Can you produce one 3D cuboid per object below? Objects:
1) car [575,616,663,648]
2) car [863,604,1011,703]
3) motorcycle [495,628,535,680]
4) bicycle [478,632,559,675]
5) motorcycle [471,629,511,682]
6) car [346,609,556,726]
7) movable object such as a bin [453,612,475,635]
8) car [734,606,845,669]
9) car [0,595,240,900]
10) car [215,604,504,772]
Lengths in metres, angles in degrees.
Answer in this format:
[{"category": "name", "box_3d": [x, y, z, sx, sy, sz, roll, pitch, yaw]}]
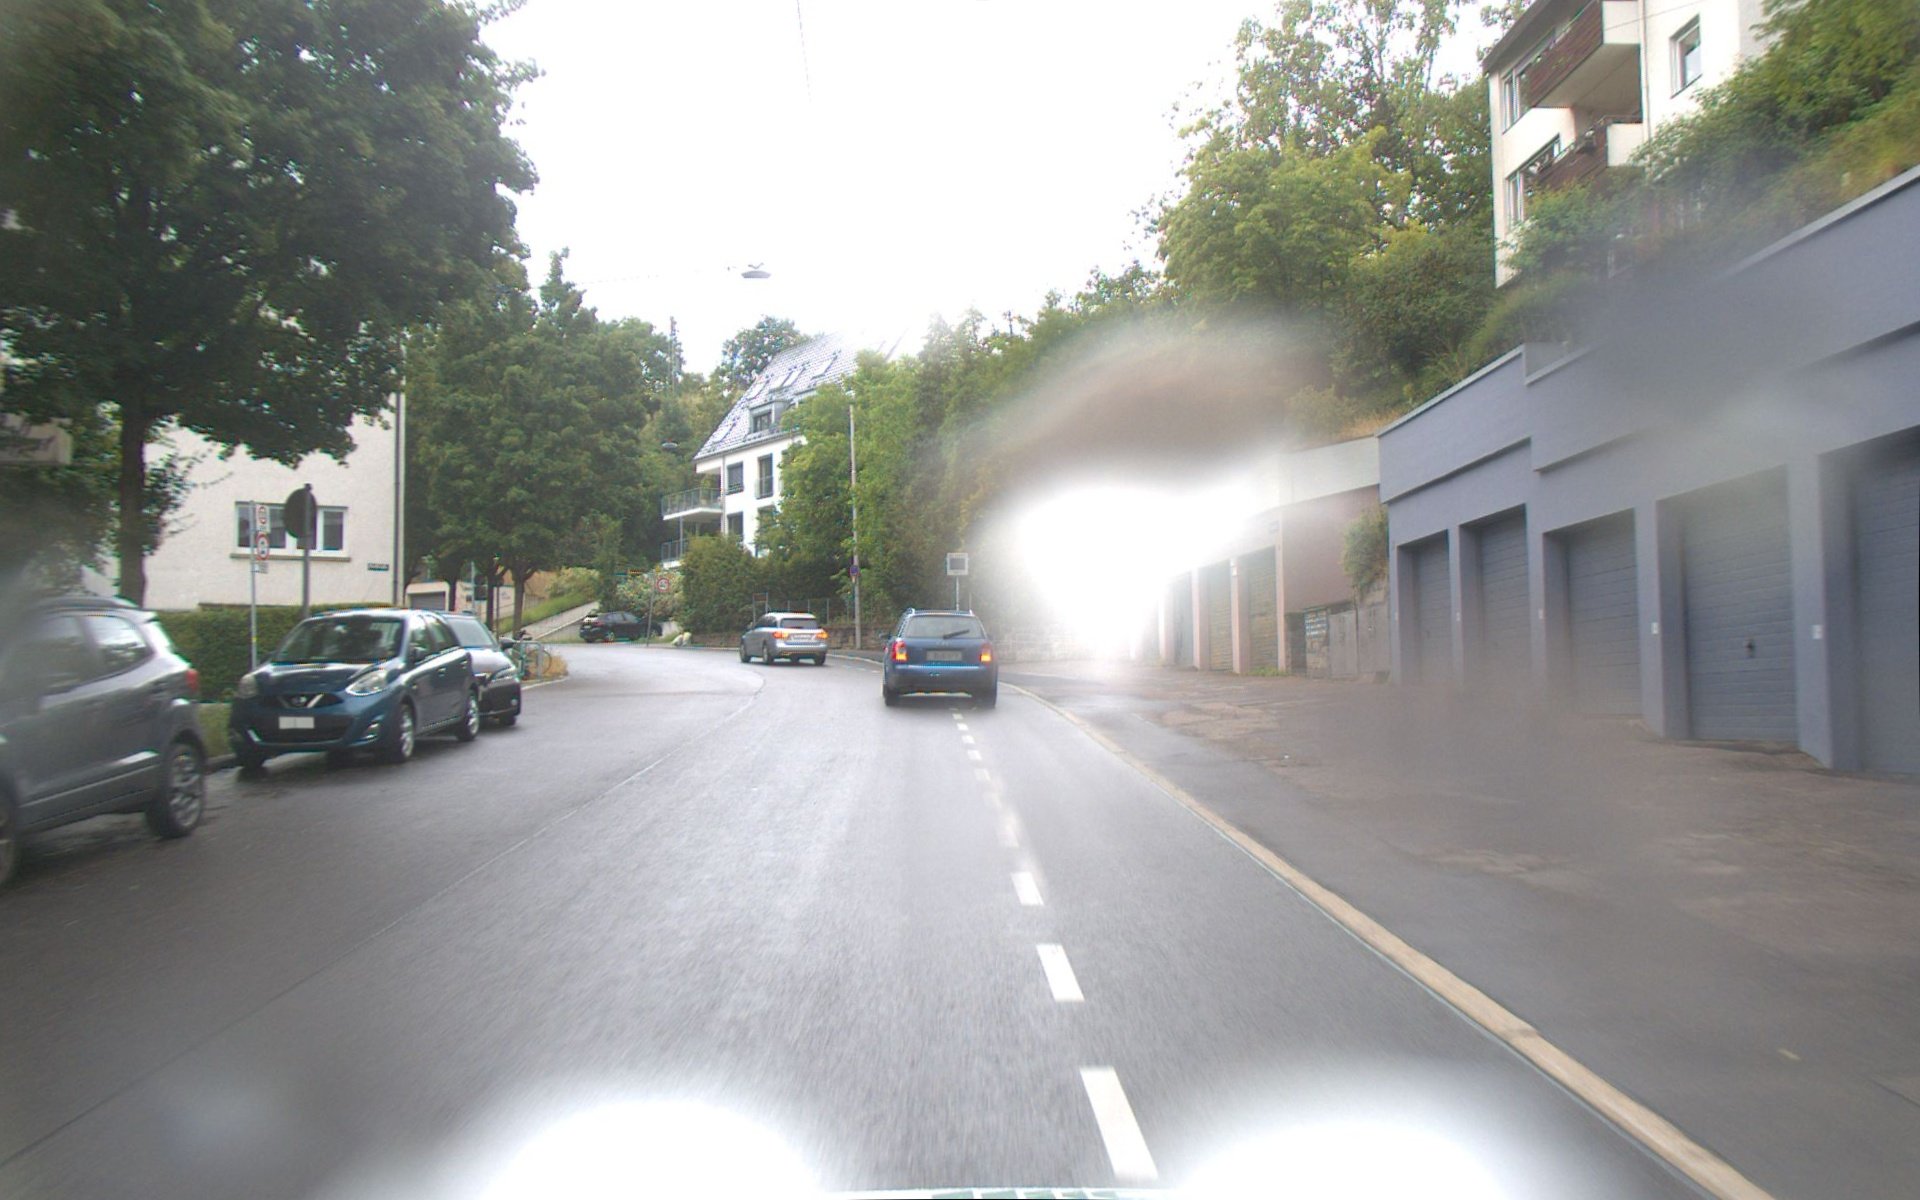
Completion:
[{"category": "car", "box_3d": [-16.690, 1.549, 81.114, 1.707, 1.534, 4.163, 0, -1, 38]}, {"category": "car", "box_3d": [-0.457, 0.788, 26.303, 1.819, 1.439, 4.353, 0, 0, -8]}, {"category": "motorcycle", "box_3d": [-10.796, 1.297, 40.170, 0.545, 1.225, 1.399, 0, 0, 2]}, {"category": "bicycle", "box_3d": [-11.459, 1.379, 42.913, 1.939, 1.079, 0.748, 0, 0, -27]}, {"category": "motorcycle", "box_3d": [-11.357, 1.334, 40.085, 0.541, 1.249, 1.306, 0, 0, 2]}, {"category": "car", "box_3d": [-6.953, 0.858, 22.321, 1.971, 1.415, 4.158, 0, -1, -28]}, {"category": "movable object such as a bin", "box_3d": [-27.289, 1.287, 91.003, 0.769, 1.206, 0.862, 0, 0, 23]}, {"category": "car", "box_3d": [-5.035, 1.078, 48.360, 1.925, 1.588, 4.231, 4, -1, -24]}, {"category": "car", "box_3d": [-6.122, 0.805, 10.034, 1.768, 1.655, 4.137, 1, -1, -2]}, {"category": "car", "box_3d": [-6.221, 0.840, 17.617, 1.678, 1.488, 3.880, 1, 1, -1]}]
